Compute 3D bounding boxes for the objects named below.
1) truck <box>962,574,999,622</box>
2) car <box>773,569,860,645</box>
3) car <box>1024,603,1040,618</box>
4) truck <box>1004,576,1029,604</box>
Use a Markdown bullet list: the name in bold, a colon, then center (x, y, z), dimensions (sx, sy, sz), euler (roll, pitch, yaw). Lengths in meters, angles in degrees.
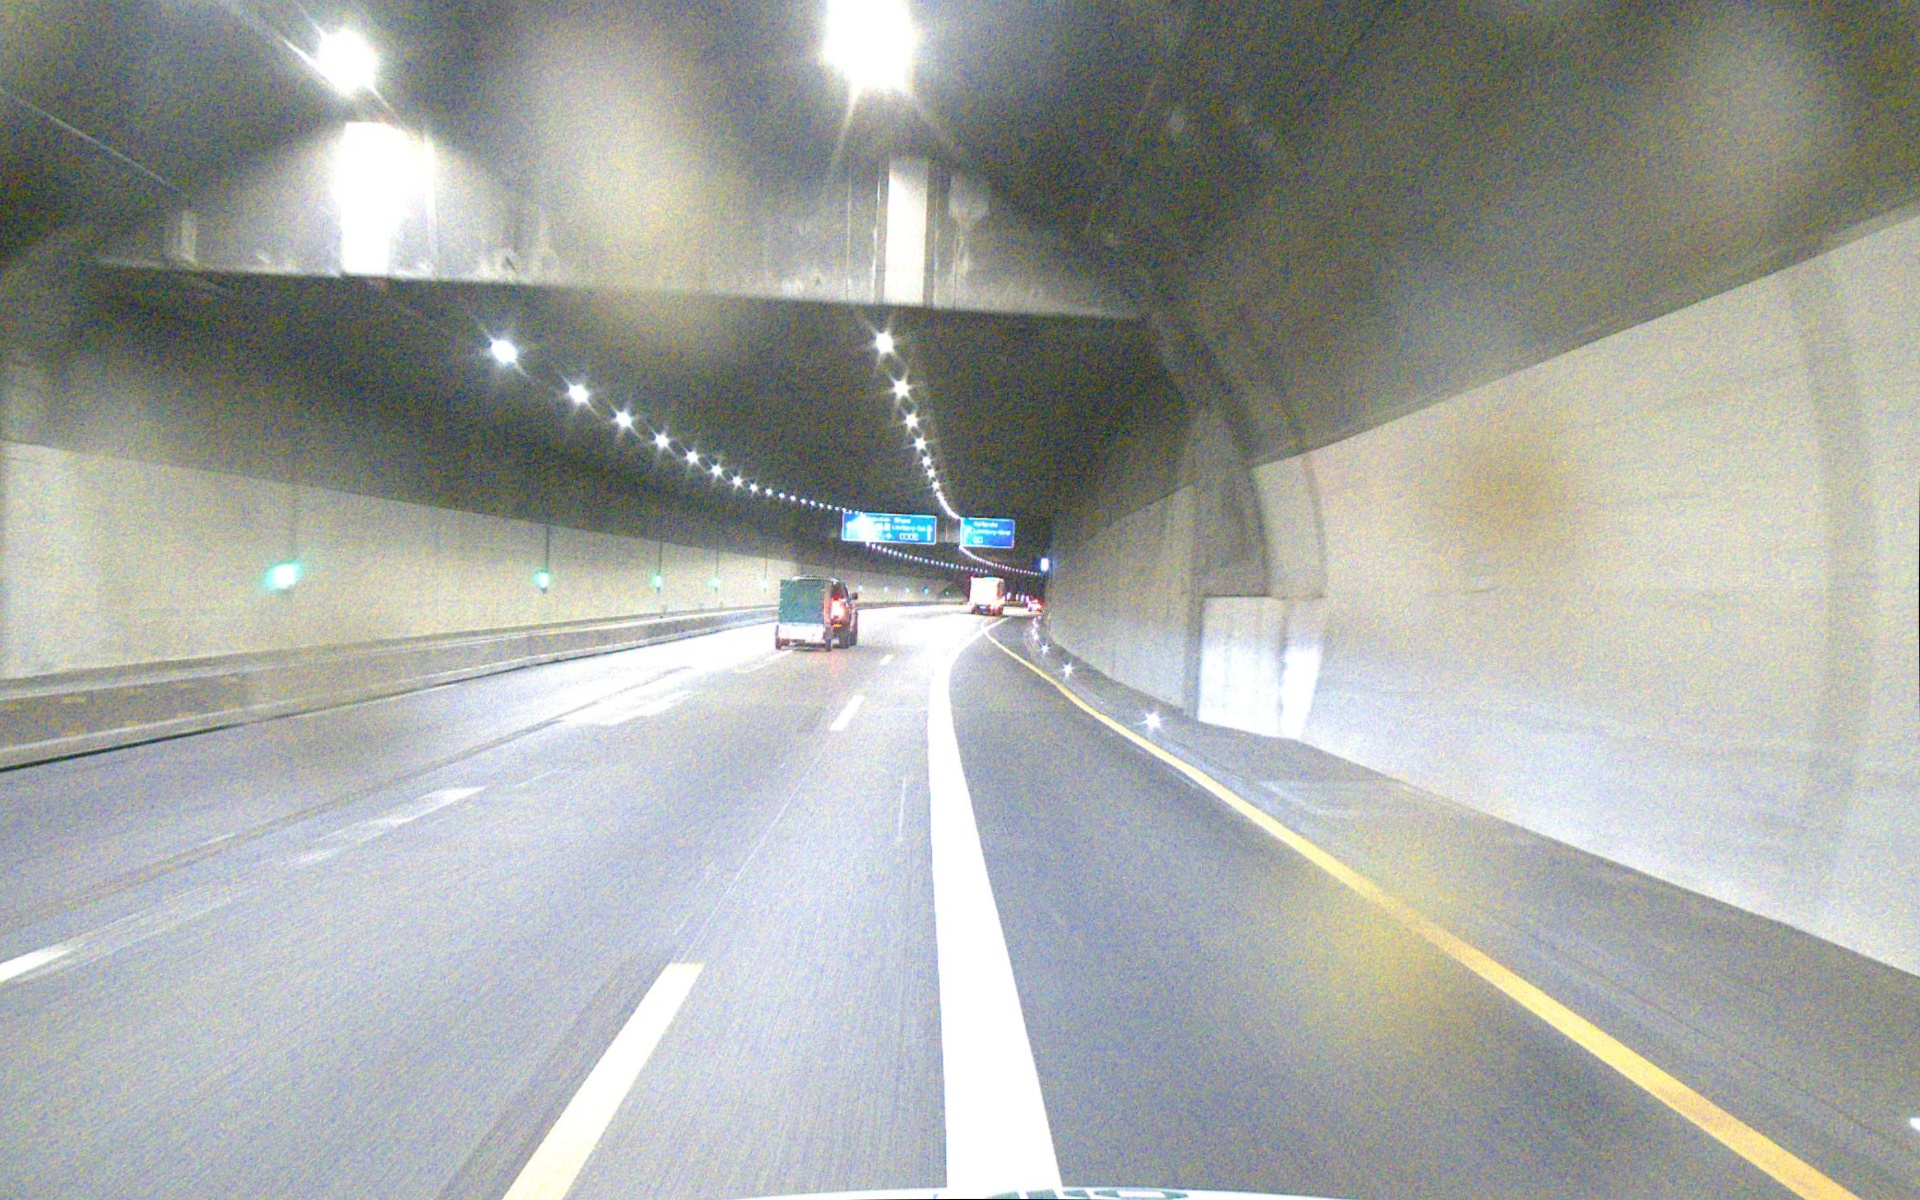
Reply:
- **truck**: center (2.051, -0.204, 163.030), dimensions (3.403, 4.391, 10.953), euler (3, 0, 1)
- **car**: center (-4.034, 0.266, 47.320), dimensions (1.953, 1.928, 5.452), euler (1, -2, 0)
- **car**: center (9.678, 1.427, 223.416), dimensions (1.951, 1.928, 5.535), euler (1, 0, 4)
- **truck**: center (8.762, -1.566, 259.463), dimensions (3.403, 4.391, 10.950), euler (1, 0, -1)
